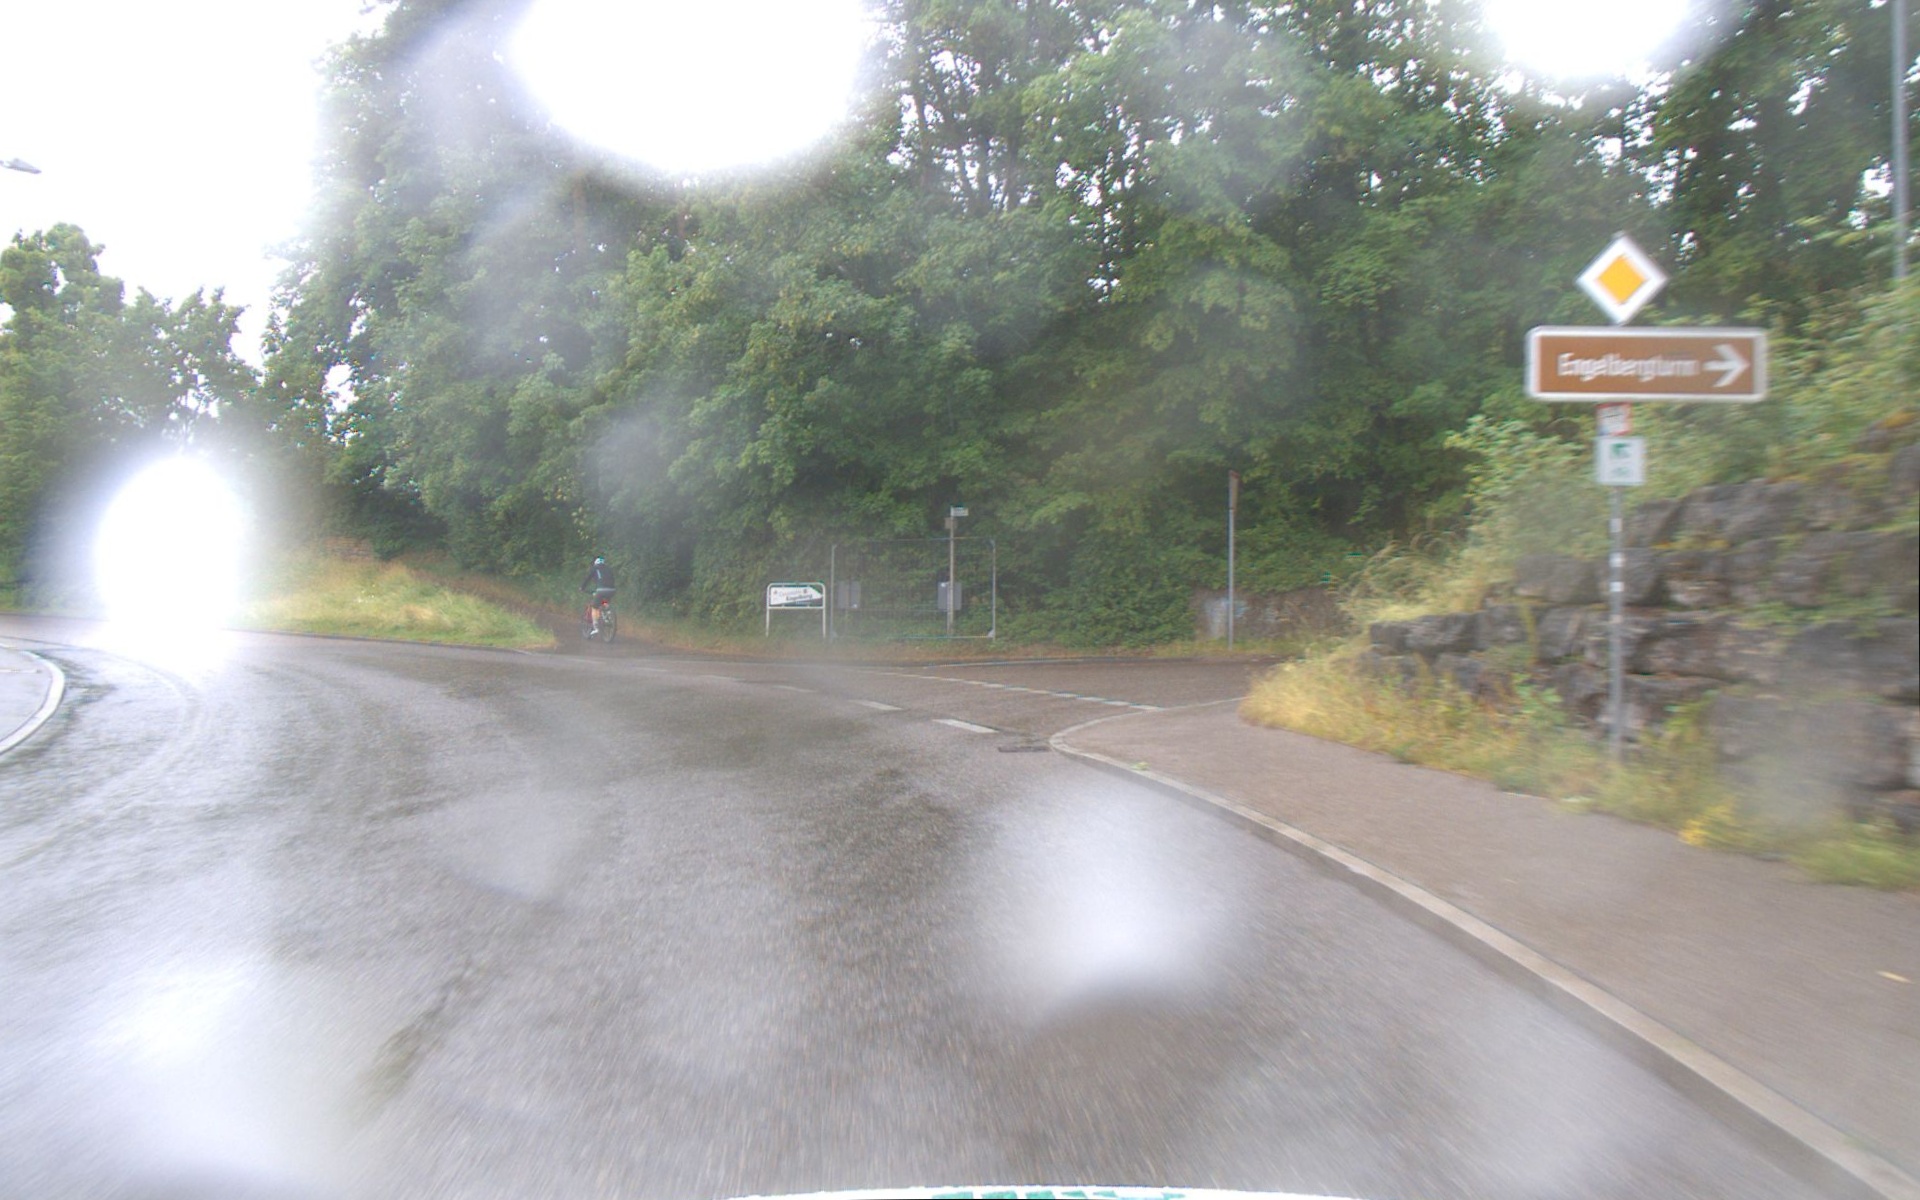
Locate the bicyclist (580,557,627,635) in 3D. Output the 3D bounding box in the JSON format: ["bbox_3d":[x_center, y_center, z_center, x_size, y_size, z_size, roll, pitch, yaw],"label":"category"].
[{"bbox_3d":[-7.616,-0.088,35.331,0.713,1.643,0.895,1,0,-32],"label":"bicyclist"}]

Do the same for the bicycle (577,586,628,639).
[{"bbox_3d":[-7.657,0.261,35.372,0.522,1.104,1.602,1,0,-33],"label":"bicycle"}]
